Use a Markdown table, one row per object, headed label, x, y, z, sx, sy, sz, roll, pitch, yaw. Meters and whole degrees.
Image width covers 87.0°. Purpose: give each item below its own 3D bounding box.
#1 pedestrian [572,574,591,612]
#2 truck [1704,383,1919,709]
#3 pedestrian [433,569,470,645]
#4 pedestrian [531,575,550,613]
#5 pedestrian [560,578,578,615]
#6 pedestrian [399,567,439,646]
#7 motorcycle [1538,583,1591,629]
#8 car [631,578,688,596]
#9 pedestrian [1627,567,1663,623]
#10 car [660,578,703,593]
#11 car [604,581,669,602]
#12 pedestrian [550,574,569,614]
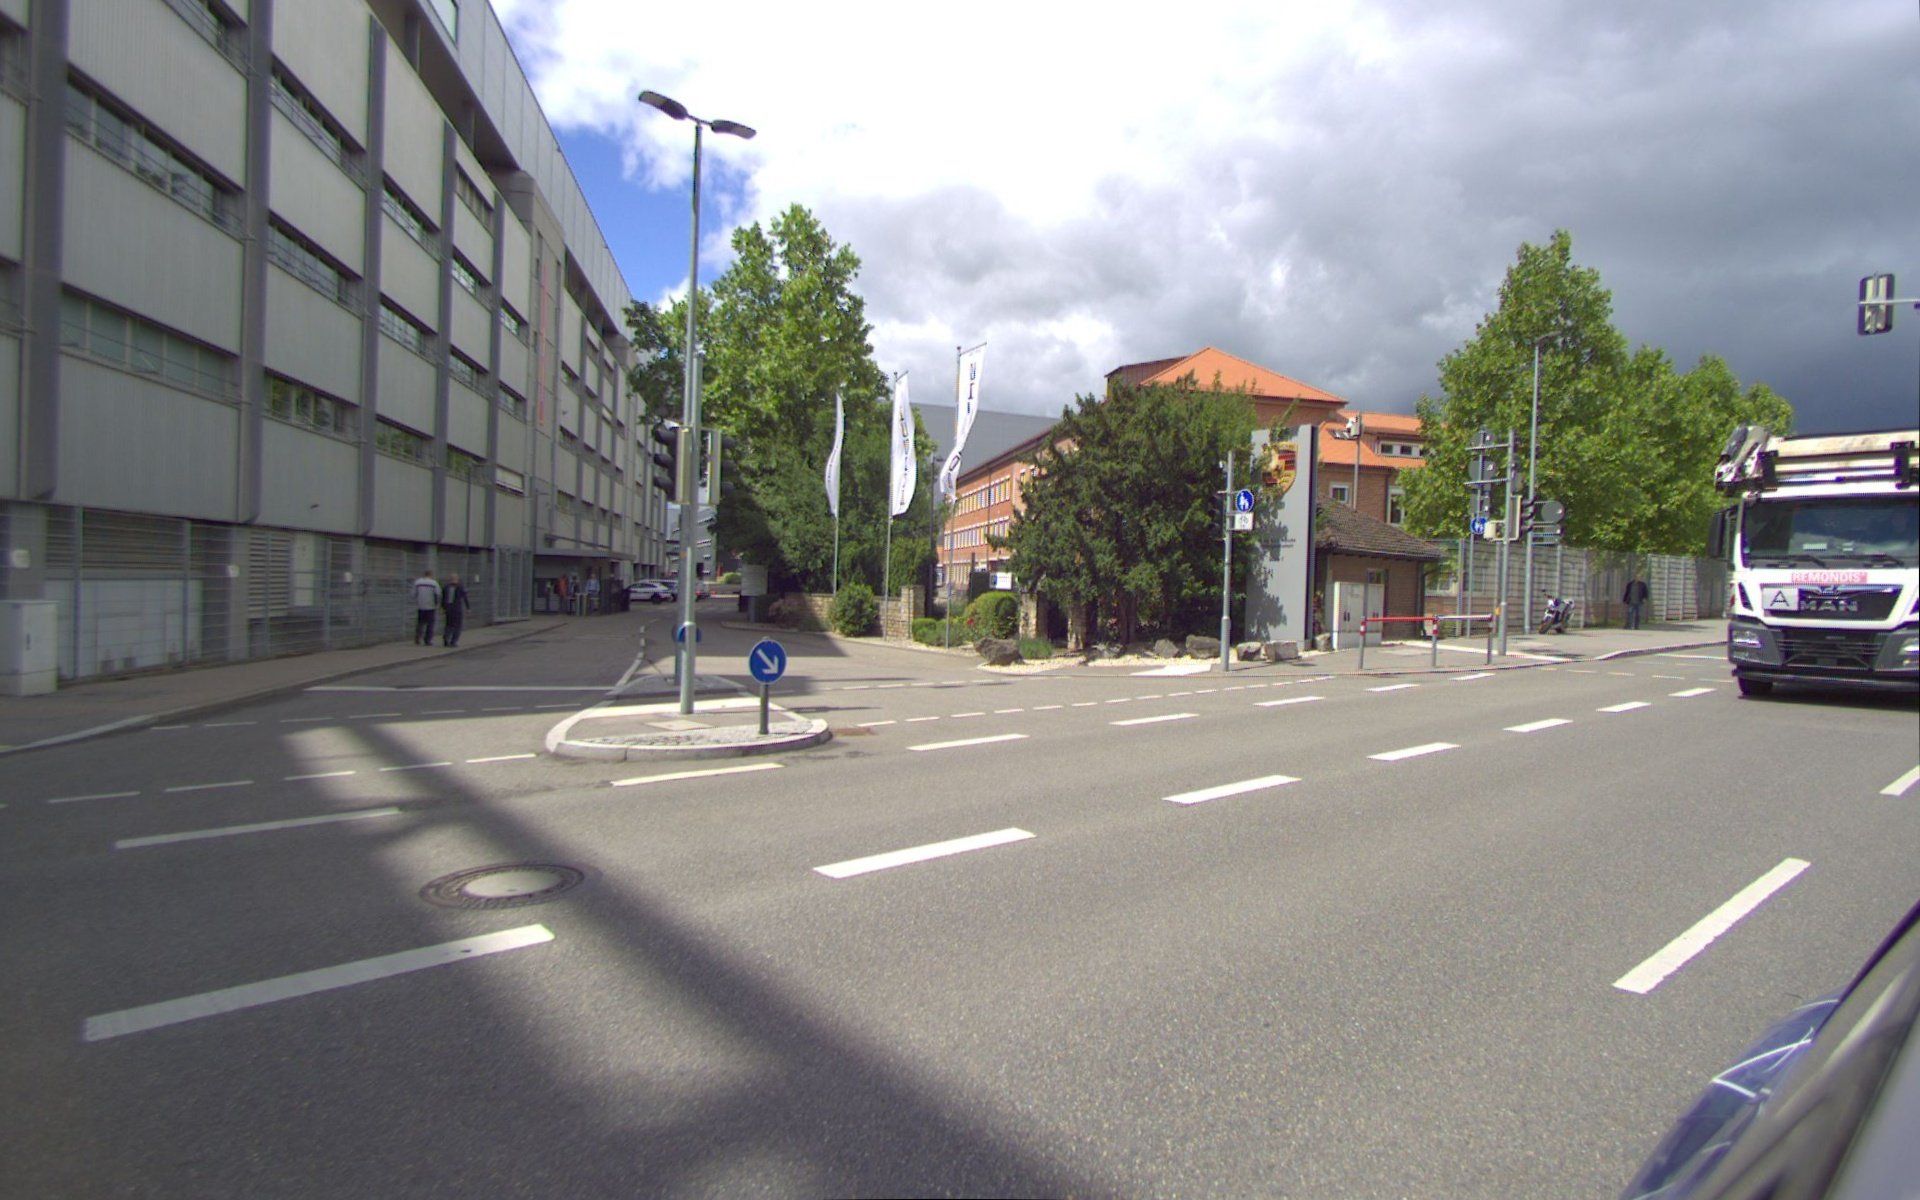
| label | x | y | z | sx | sy | sz | roll | pitch | yaw |
| --- | --- | --- | --- | --- | --- | --- | --- | --- | --- |
| pedestrian | -17.126 | -0.326 | 45.793 | 0.739 | 1.714 | 0.747 | 0 | 0 | -18 |
| truck | 15.054 | -0.716 | 16.284 | 10.554 | 3.934 | 2.711 | -1 | 1 | -41 |
| pedestrian | -11.896 | 0.160 | 23.694 | 0.605 | 1.744 | 0.747 | 0 | 0 | -12 |
| pedestrian | -18.748 | -0.269 | 45.266 | 0.739 | 1.714 | 0.747 | 0 | 0 | -18 |
| pedestrian | -18.005 | -0.165 | 46.589 | 0.739 | 1.714 | 0.747 | 0 | 0 | -18 |
| pedestrian | -12.569 | 0.138 | 23.527 | 0.624 | 1.802 | 0.747 | 0 | 0 | -12 |
| motorcycle | 16.993 | 0.156 | 28.423 | 2.137 | 1.241 | 0.570 | -1 | 3 | -41 |
| car | -25.457 | -1.099 | 85.826 | 4.486 | 1.556 | 2.004 | 0 | 1 | -10 |
| pedestrian | 22.294 | -0.176 | 32.940 | 0.998 | 1.788 | 0.728 | 0 | 0 | -41 |
| car | -31.069 | -1.630 | 113.030 | 4.486 | 1.556 | 2.004 | 0 | 1 | -10 |
| car | -24.233 | -0.623 | 75.956 | 4.486 | 1.556 | 2.004 | 0 | 1 | -10 |
| pedestrian | -17.576 | -0.275 | 44.408 | 0.739 | 1.714 | 0.747 | 0 | 0 | -18 |
